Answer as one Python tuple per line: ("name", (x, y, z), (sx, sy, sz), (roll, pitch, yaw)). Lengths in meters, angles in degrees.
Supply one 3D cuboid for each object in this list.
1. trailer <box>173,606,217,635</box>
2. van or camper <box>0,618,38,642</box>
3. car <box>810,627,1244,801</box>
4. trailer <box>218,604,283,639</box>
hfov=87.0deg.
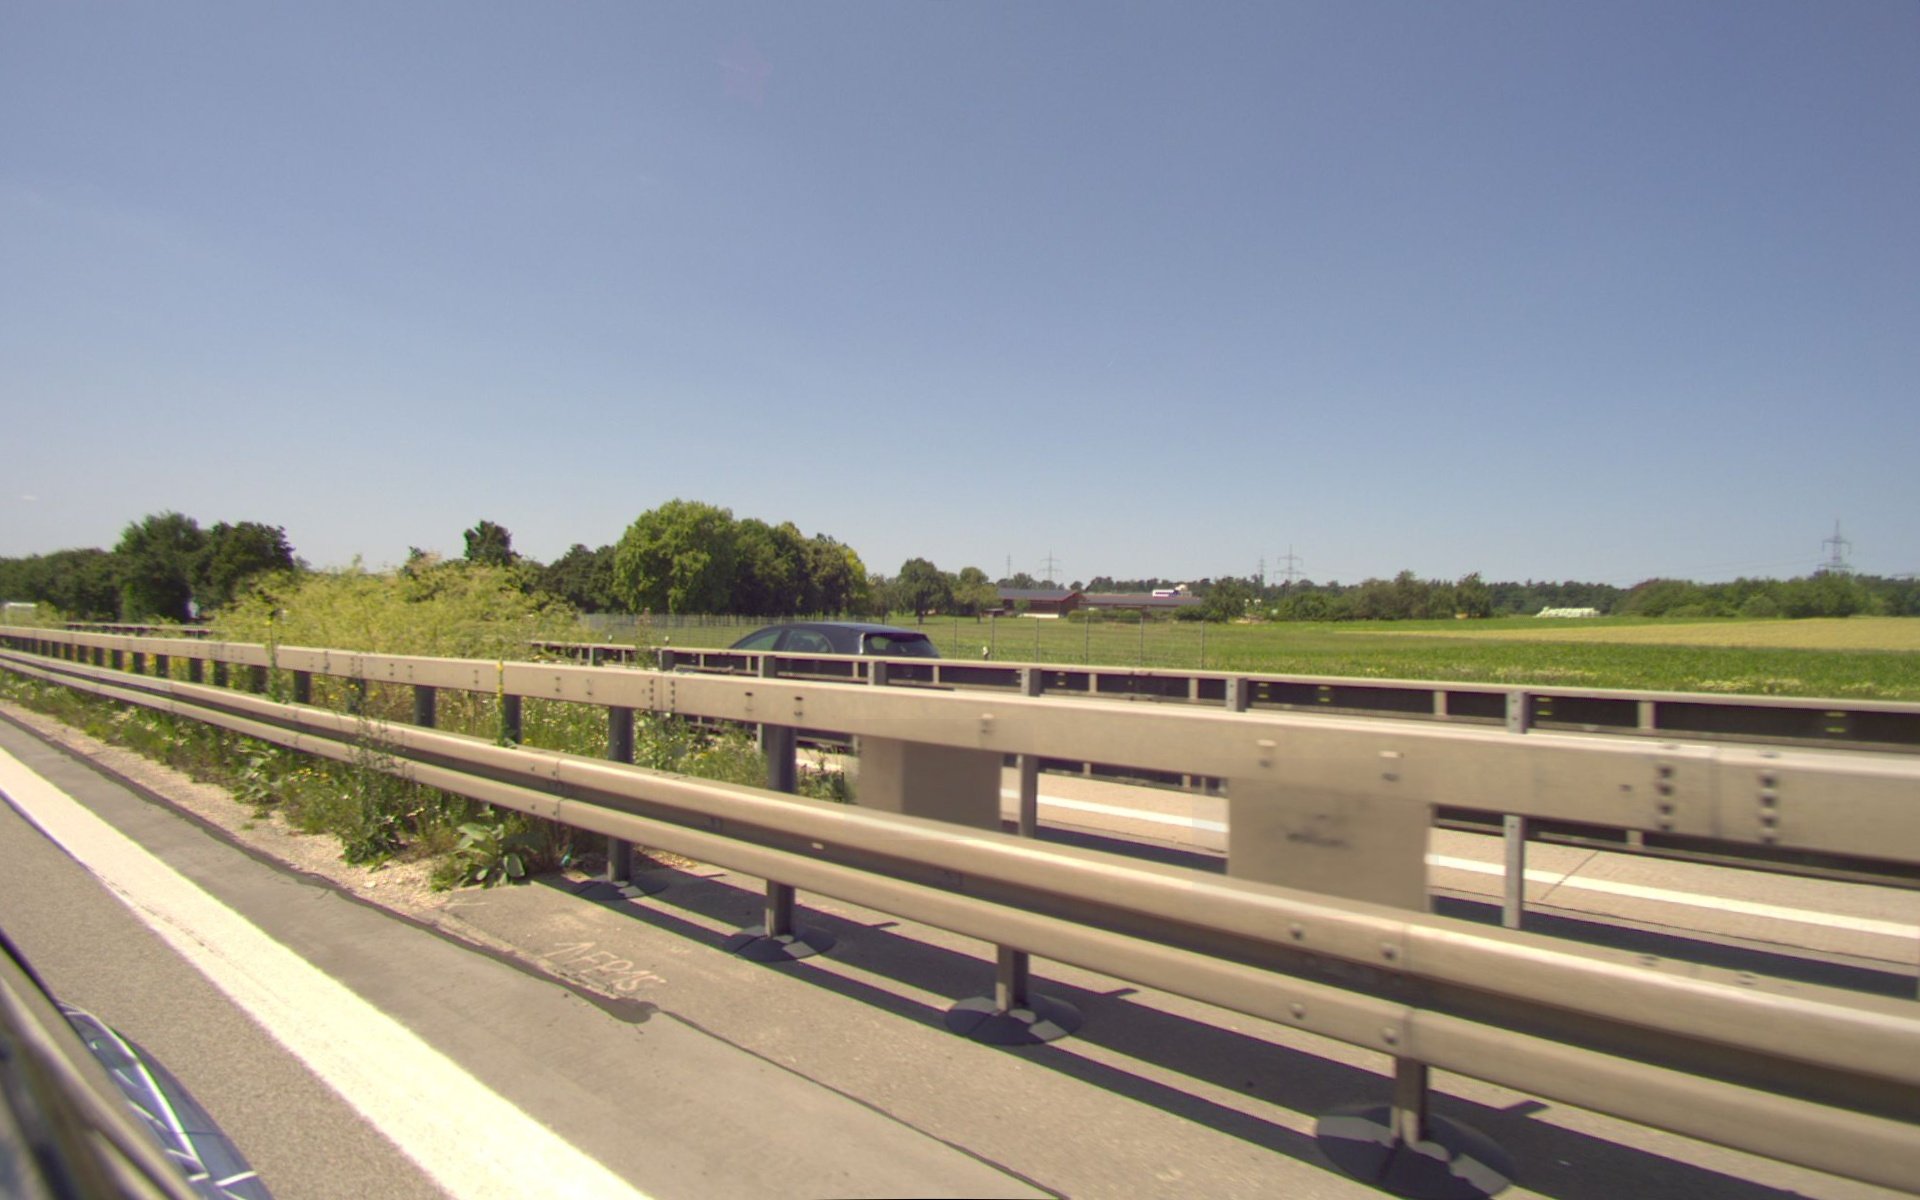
("trailer", (-98.941, 2.620, 130.860), (8.703, 3.689, 2.520), (-1, 0, 39))
("van or camper", (-106.344, 3.323, 114.279), (6.705, 2.555, 2.510), (1, -1, 40))
("car", (0.553, 1.008, 10.288), (4.197, 1.419, 1.661), (-1, -3, 38))
("trailer", (-82.769, 2.475, 117.898), (14.401, 3.807, 2.740), (-1, 0, 41))
